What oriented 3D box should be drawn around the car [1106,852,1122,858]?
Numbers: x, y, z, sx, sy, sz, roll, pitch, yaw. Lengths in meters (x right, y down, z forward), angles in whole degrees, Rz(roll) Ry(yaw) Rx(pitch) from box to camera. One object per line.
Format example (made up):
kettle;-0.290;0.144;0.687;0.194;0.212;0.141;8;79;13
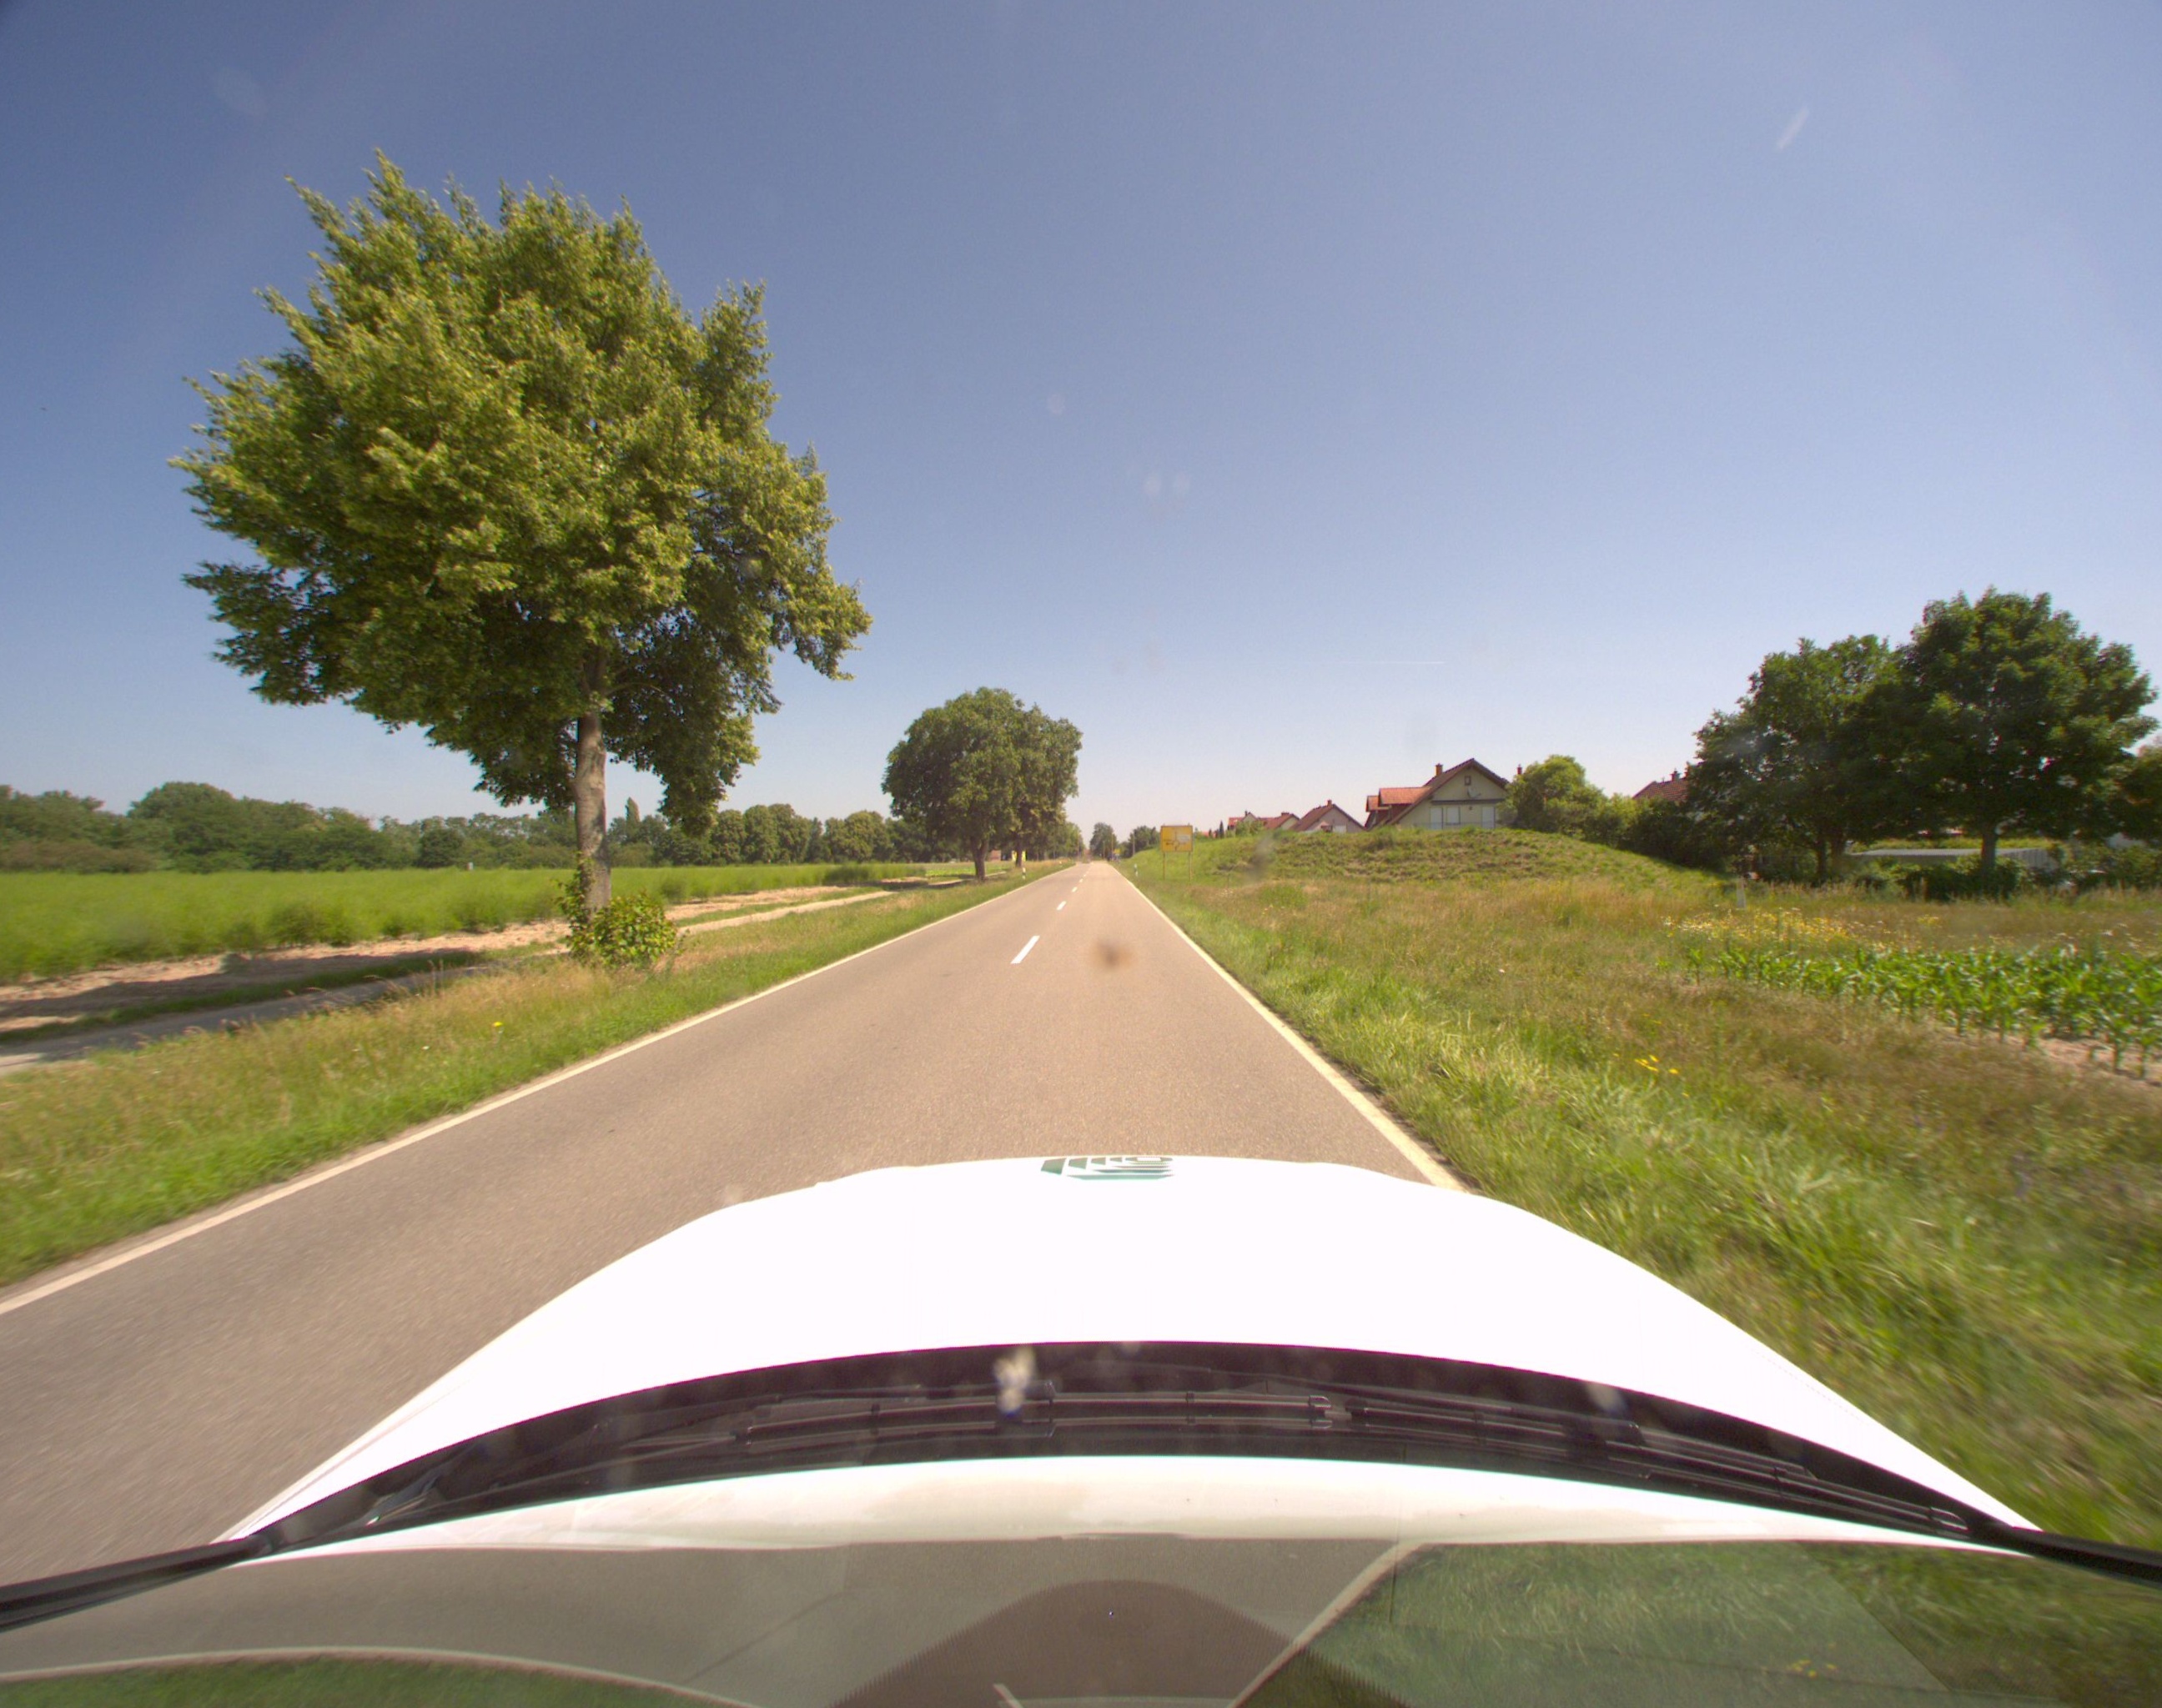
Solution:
car;7.957;0.231;196.003;3.618;1.536;1.828;-1;0;-27
